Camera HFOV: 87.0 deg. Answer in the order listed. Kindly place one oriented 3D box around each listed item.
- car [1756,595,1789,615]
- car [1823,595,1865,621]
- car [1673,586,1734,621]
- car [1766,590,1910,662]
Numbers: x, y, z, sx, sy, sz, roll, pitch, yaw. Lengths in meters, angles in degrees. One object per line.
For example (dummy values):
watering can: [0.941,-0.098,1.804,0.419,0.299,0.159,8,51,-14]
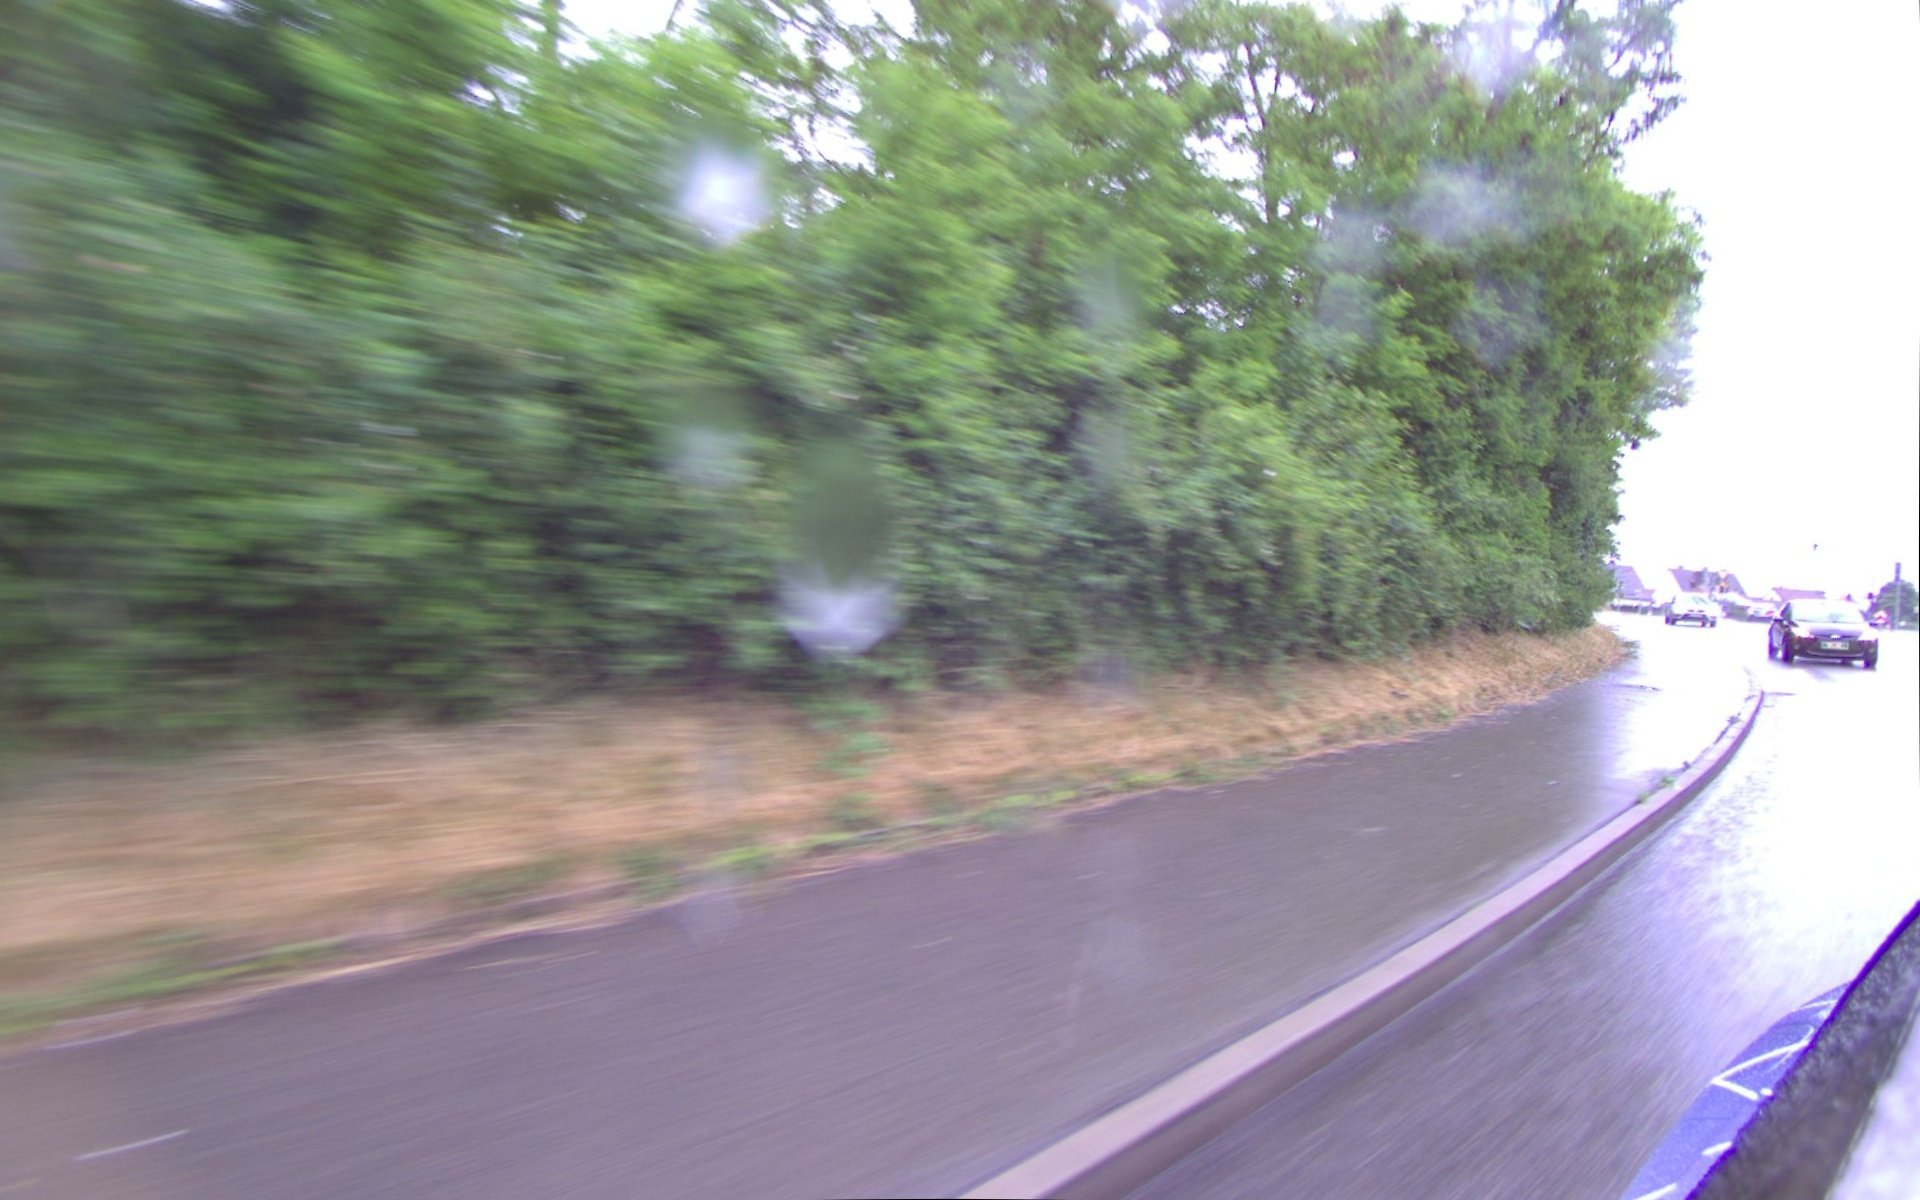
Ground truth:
car: [59.205,0.339,73.794,1.730,1.320,3.671,3,3,37]
car: [56.936,0.488,65.233,1.730,1.478,3.671,3,3,37]
car: [34.973,0.136,47.698,1.862,1.458,4.328,5,3,32]
car: [21.023,0.542,24.421,1.861,1.459,4.329,2,2,31]
